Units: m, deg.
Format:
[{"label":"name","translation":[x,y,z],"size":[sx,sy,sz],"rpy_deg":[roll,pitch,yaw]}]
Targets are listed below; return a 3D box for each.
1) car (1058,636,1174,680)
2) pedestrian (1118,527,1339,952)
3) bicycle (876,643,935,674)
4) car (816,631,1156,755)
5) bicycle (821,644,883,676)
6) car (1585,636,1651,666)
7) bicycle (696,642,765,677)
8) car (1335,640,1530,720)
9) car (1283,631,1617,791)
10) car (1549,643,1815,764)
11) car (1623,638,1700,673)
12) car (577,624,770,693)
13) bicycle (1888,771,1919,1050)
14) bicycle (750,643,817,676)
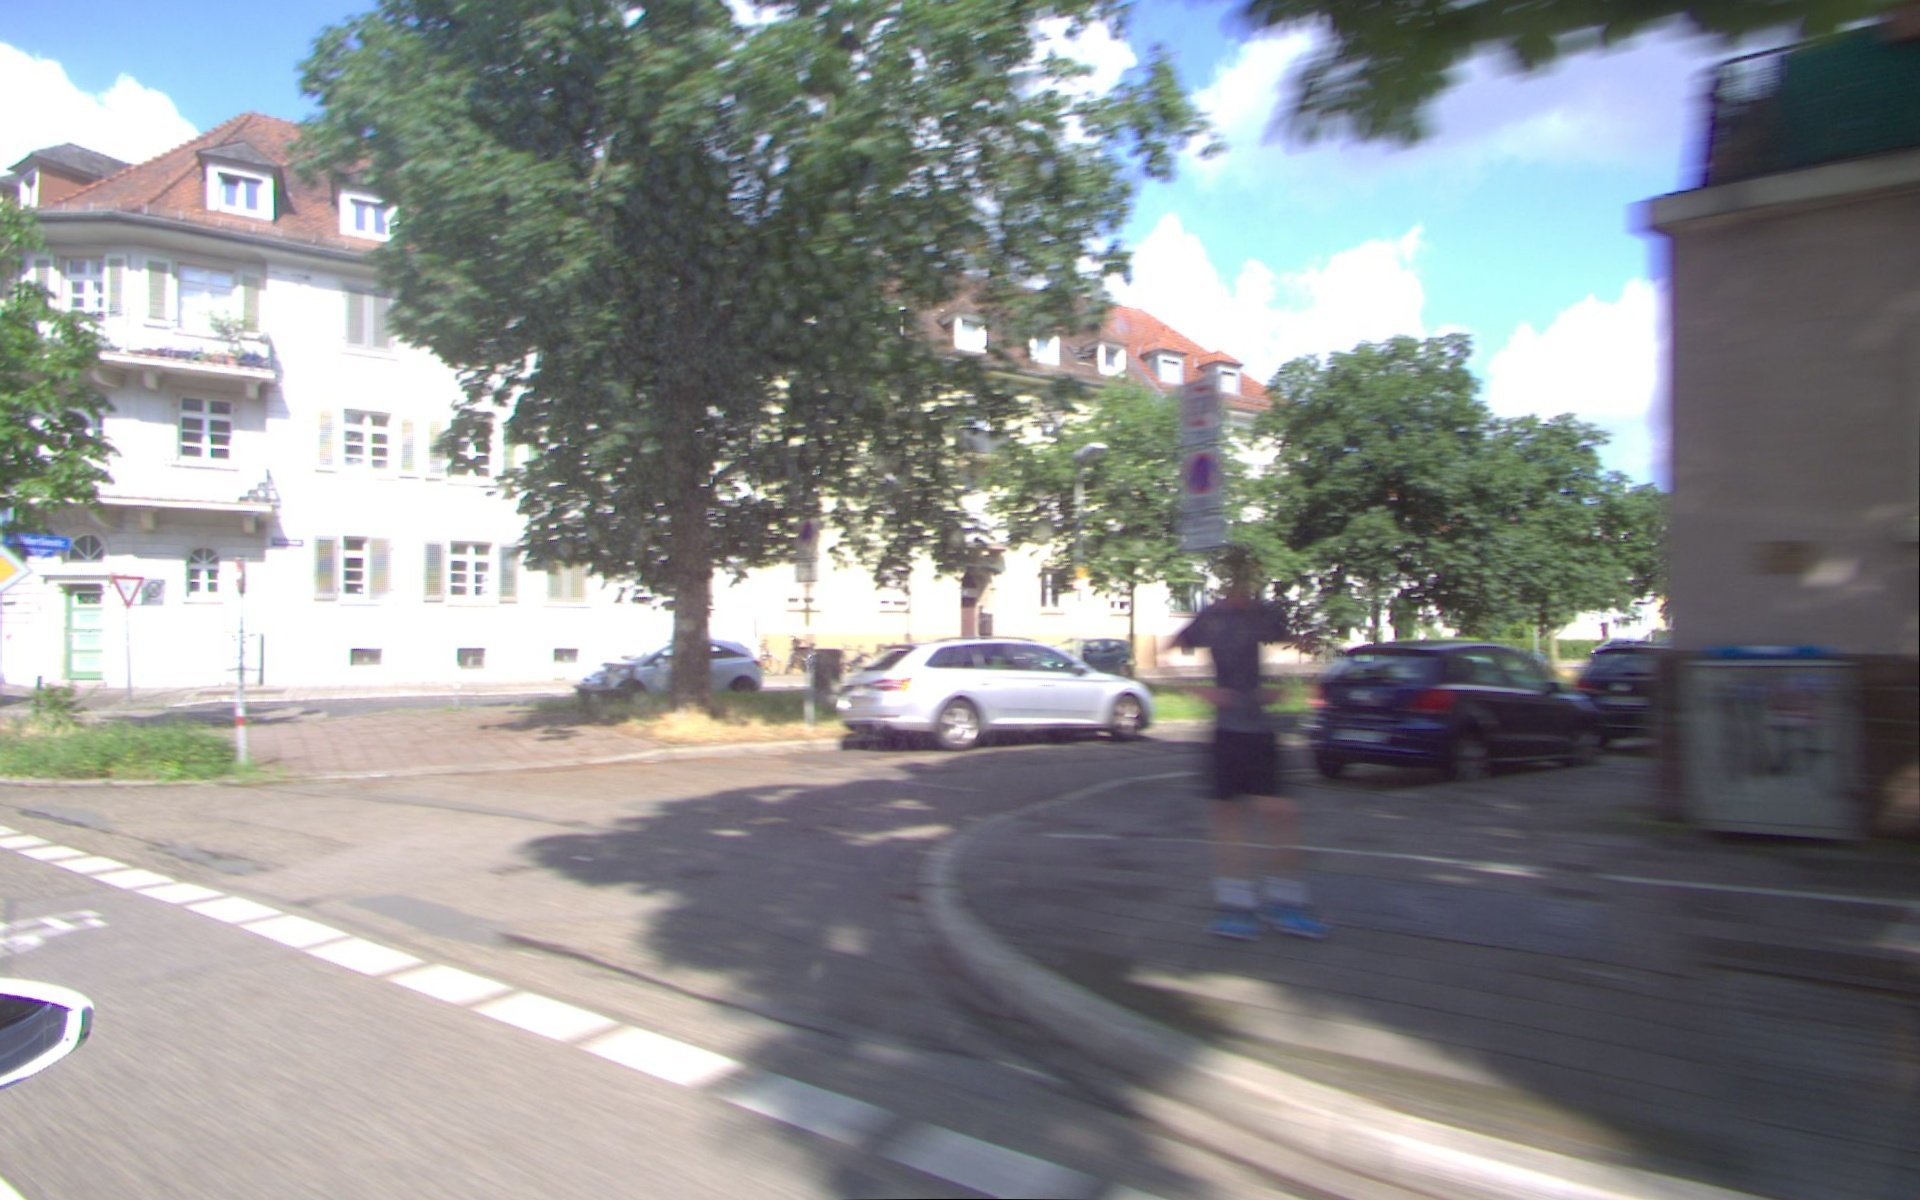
[{"label":"car","translation":[5.564,2.042,35.630],"size":[3.814,1.373,1.688],"rpy_deg":[1,2,-30]},{"label":"pedestrian","translation":[1.307,0.633,4.868],"size":[0.866,1.859,0.609],"rpy_deg":[-2,-2,30]},{"label":"bicycle","translation":[-1.896,2.046,35.010],"size":[2.108,1.047,0.533],"rpy_deg":[2,-2,-37]},{"label":"car","translation":[0.421,1.212,14.090],"size":[4.511,1.494,1.860],"rpy_deg":[1,-3,-31]},{"label":"bicycle","translation":[-3.624,1.995,33.715],"size":[2.108,1.047,0.533],"rpy_deg":[2,-2,-37]},{"label":"car","translation":[36.133,2.803,54.961],"size":[3.820,1.577,1.701],"rpy_deg":[1,-2,-33]},{"label":"bicycle","translation":[-7.279,1.876,31.801],"size":[2.108,1.047,0.533],"rpy_deg":[2,-2,-37]},{"label":"car","translation":[9.094,1.476,19.216],"size":[3.769,1.397,1.579],"rpy_deg":[1,-3,-31]},{"label":"car","translation":[5.257,1.067,10.641],"size":[3.519,1.424,1.698],"rpy_deg":[2,-3,-35]},{"label":"car","translation":[9.828,1.305,13.586],"size":[3.668,1.442,1.654],"rpy_deg":[1,-3,-32]},{"label":"car","translation":[33.211,2.614,47.405],"size":[3.819,1.577,1.701],"rpy_deg":[1,-2,-33]},{"label":"car","translation":[-6.450,1.302,22.665],"size":[3.943,1.428,1.644],"rpy_deg":[1,-3,-30]},{"label":"bicycle","translation":[4.067,1.052,3.104],"size":[1.743,0.912,0.258],"rpy_deg":[-1,-1,24]},{"label":"bicycle","translation":[-5.724,1.918,32.566],"size":[2.108,1.047,0.533],"rpy_deg":[2,-2,-37]}]
